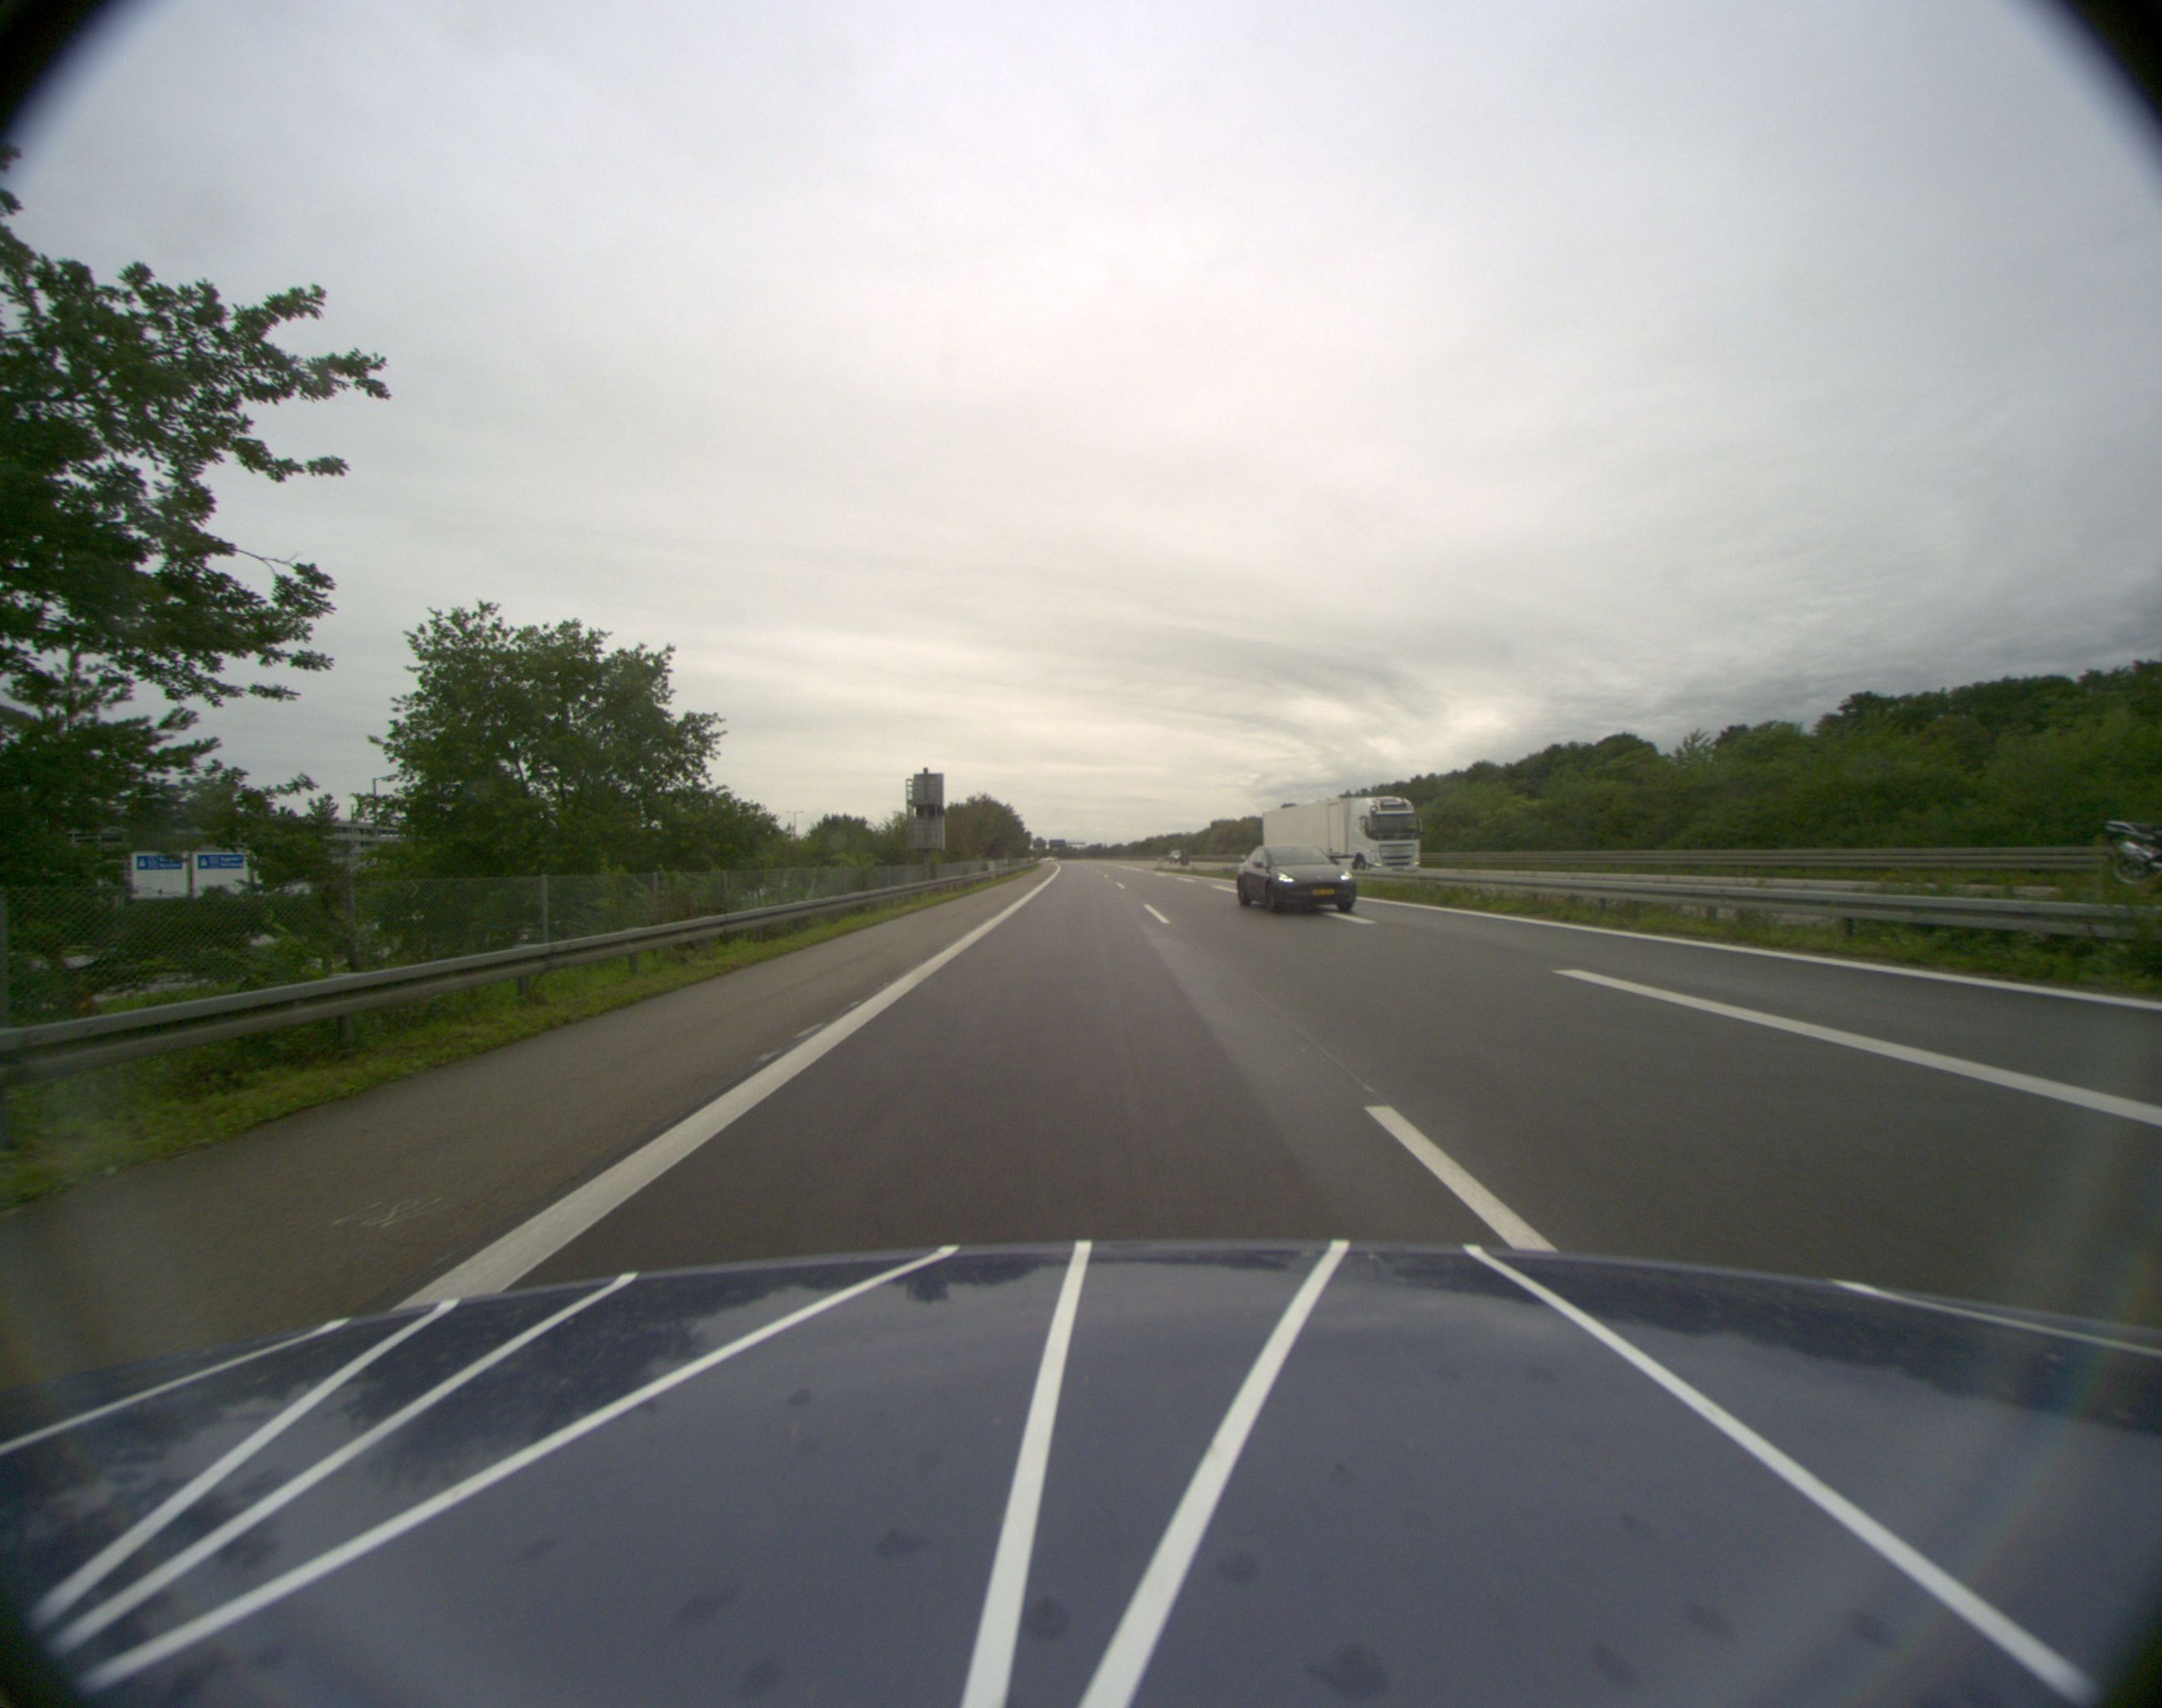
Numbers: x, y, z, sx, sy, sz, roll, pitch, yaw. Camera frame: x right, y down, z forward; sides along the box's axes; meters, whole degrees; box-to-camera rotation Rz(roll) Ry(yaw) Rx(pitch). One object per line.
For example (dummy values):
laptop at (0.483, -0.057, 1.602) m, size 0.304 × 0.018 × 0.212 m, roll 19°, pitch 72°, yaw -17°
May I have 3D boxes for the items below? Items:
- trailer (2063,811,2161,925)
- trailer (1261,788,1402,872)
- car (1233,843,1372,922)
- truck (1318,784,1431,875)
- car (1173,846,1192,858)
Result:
trailer at (16.514, 0.184, 10.222) m, size 1.887 × 1.617 × 3.609 m, roll -3°, pitch 1°, yaw -3°
trailer at (14.269, -1.239, 45.202) m, size 2.774 × 4.111 × 13.946 m, roll -2°, pitch 0°, yaw -4°
car at (5.268, 0.589, 18.753) m, size 1.966 × 1.628 × 4.553 m, roll -3°, pitch 1°, yaw -1°
truck at (14.708, -1.162, 38.699) m, size 2.774 × 4.111 × 6.442 m, roll -2°, pitch 0°, yaw -4°
car at (14.565, -0.298, 109.435) m, size 1.904 × 1.641 × 4.484 m, roll -2°, pitch 0°, yaw -3°
